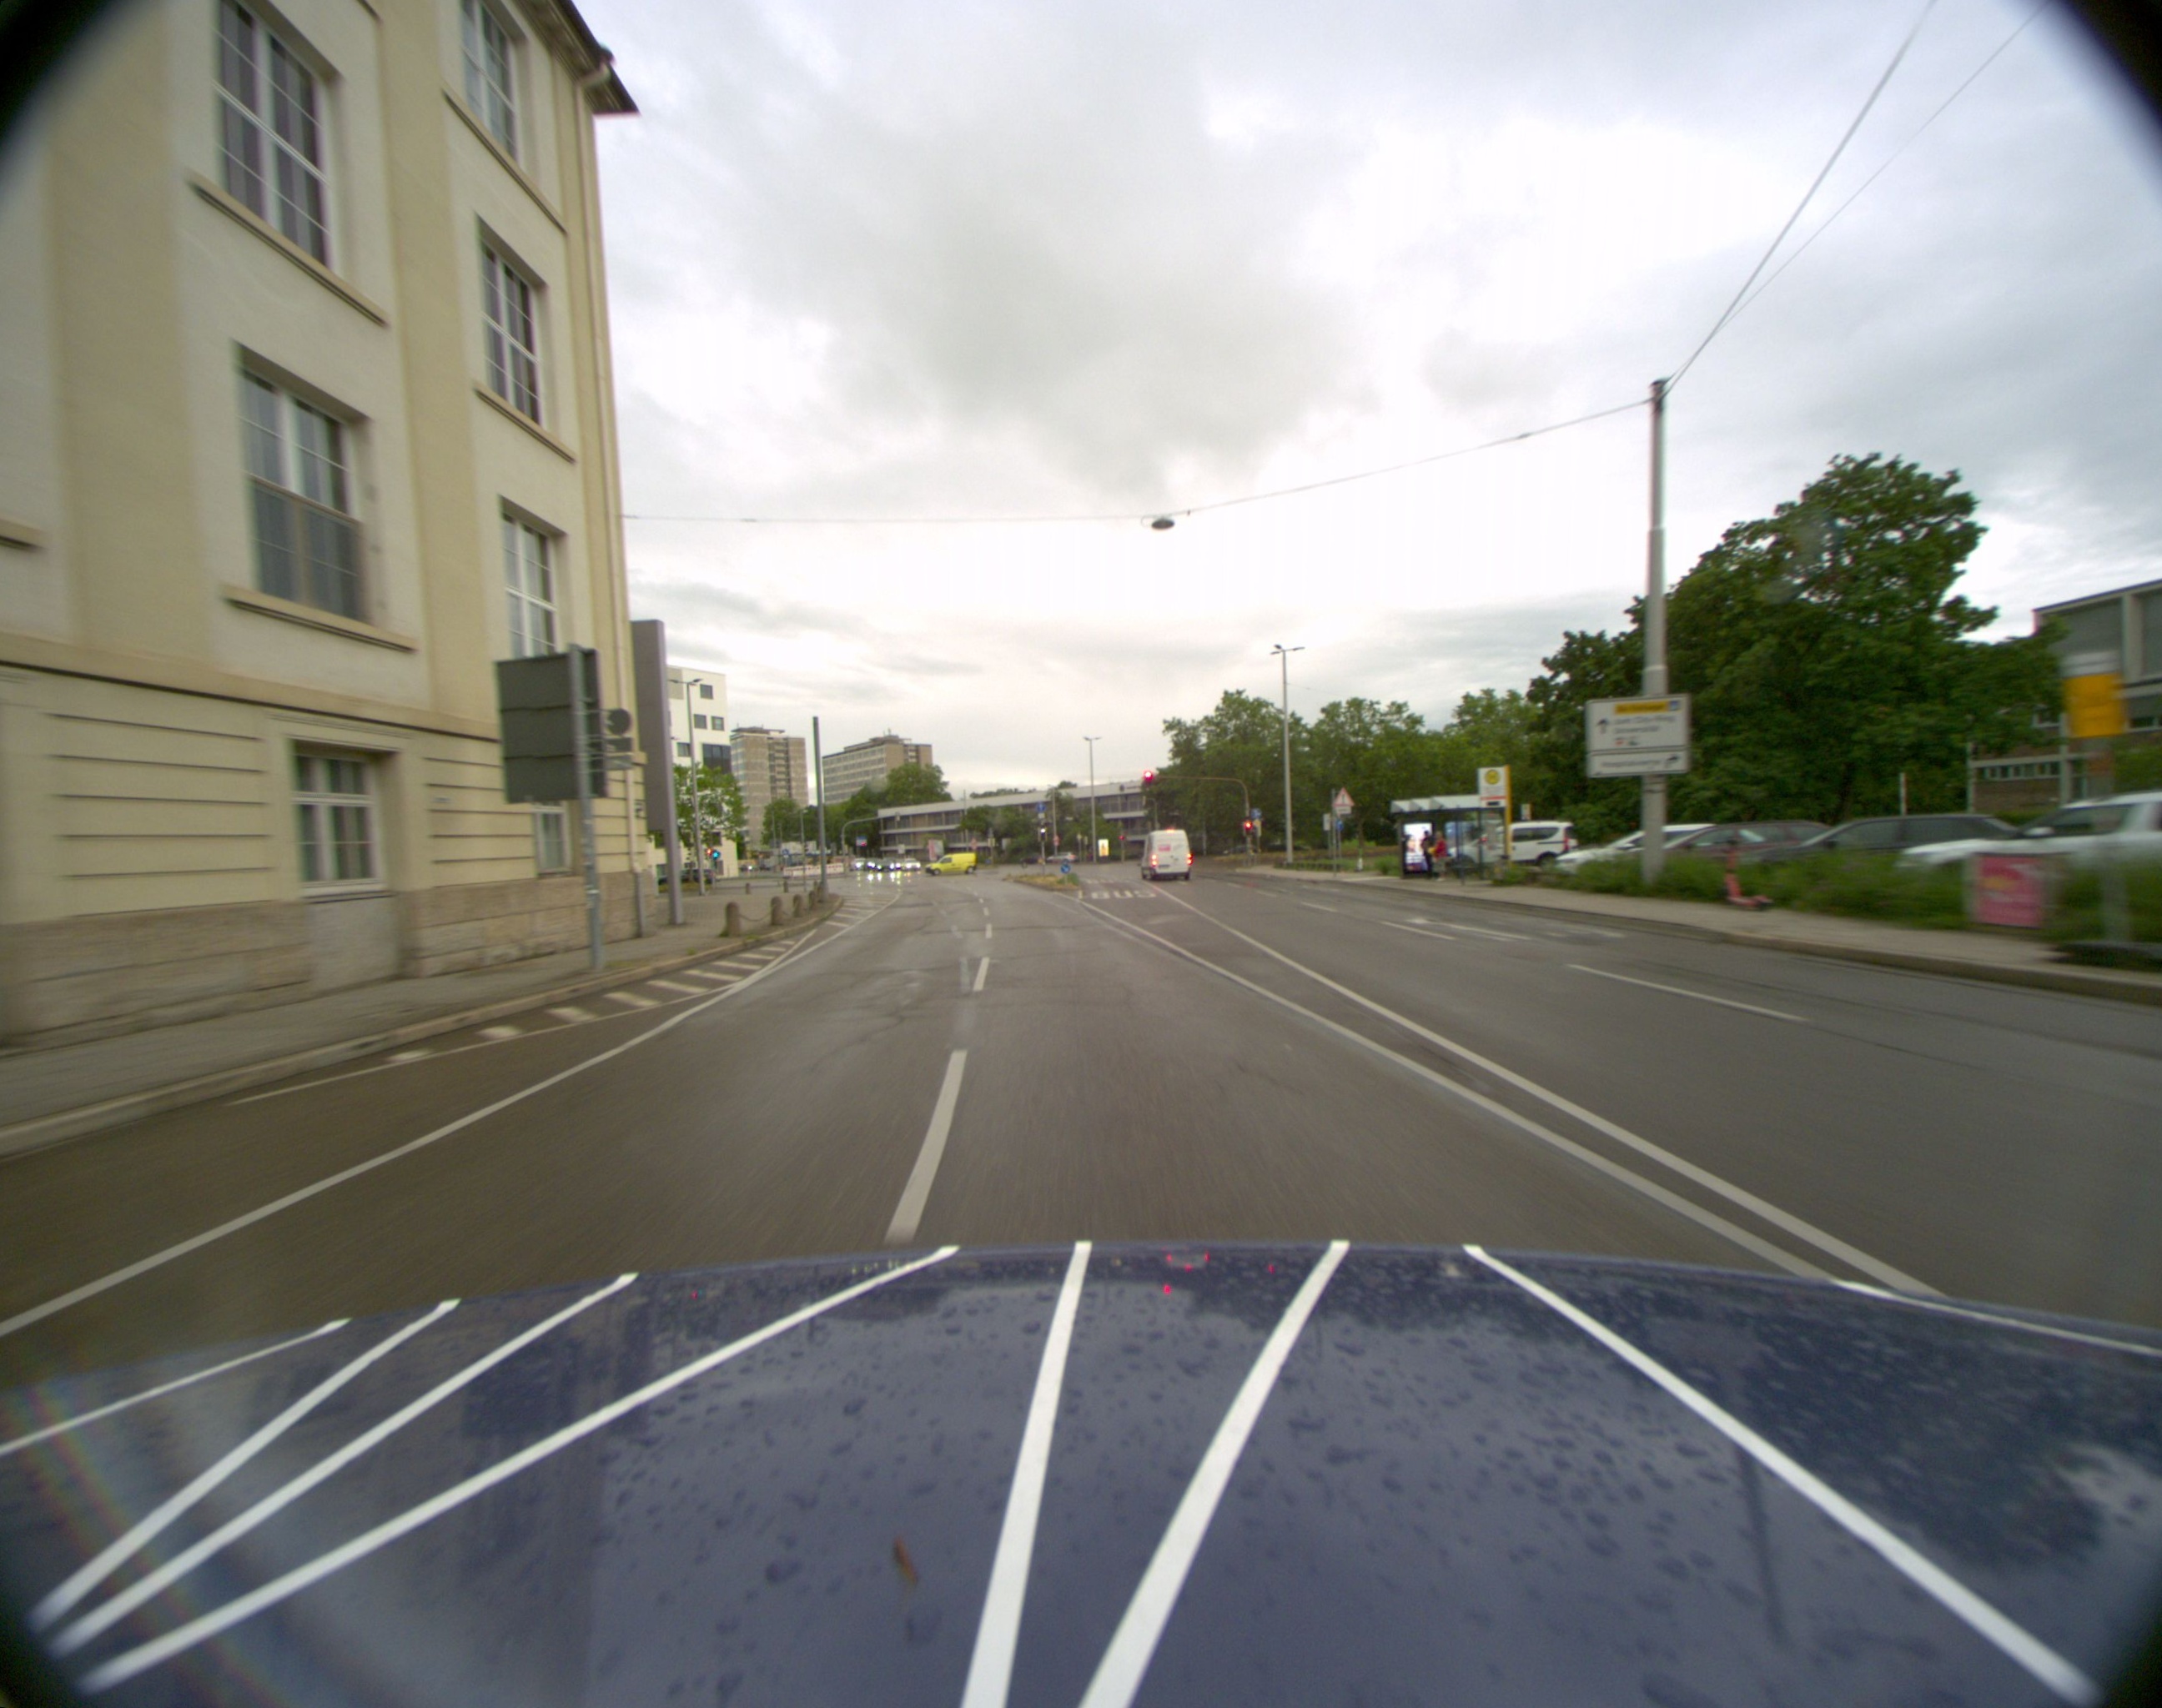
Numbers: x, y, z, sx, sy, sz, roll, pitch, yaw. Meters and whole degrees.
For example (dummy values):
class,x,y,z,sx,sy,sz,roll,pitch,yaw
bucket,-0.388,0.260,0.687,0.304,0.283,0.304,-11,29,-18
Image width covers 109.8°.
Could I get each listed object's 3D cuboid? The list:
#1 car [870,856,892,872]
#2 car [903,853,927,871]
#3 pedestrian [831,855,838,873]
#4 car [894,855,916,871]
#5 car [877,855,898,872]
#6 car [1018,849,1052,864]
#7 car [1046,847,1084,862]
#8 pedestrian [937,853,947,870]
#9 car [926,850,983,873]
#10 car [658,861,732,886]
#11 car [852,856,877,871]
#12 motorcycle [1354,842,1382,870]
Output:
class,x,y,z,sx,sy,sz,roll,pitch,yaw
car,-25.032,1.227,94.864,2.079,1.900,4.555,-2,0,-21
car,-19.491,0.932,89.177,2.079,1.900,4.555,-2,0,-21
pedestrian,-28.598,1.149,88.064,0.644,2.002,0.594,-3,1,-24
car,-22.004,1.119,94.836,2.079,1.816,4.555,-2,0,-21
car,-22.598,1.106,88.631,1.886,1.858,4.340,-2,0,-21
car,-5.827,0.314,96.401,3.834,1.664,1.931,-2,1,16
car,-2.083,0.074,98.838,4.335,1.900,2.081,-2,1,31
pedestrian,-14.910,0.809,81.621,0.903,1.786,0.541,-4,2,-5
car,-11.822,0.693,70.882,4.827,1.996,2.120,-2,1,-20
car,-31.657,1.541,62.366,5.300,1.790,2.044,-2,1,-28
car,-29.471,1.311,103.250,2.080,1.900,4.552,-2,0,-30
motorcycle,13.314,0.091,35.292,0.516,1.240,1.266,-4,1,-14
